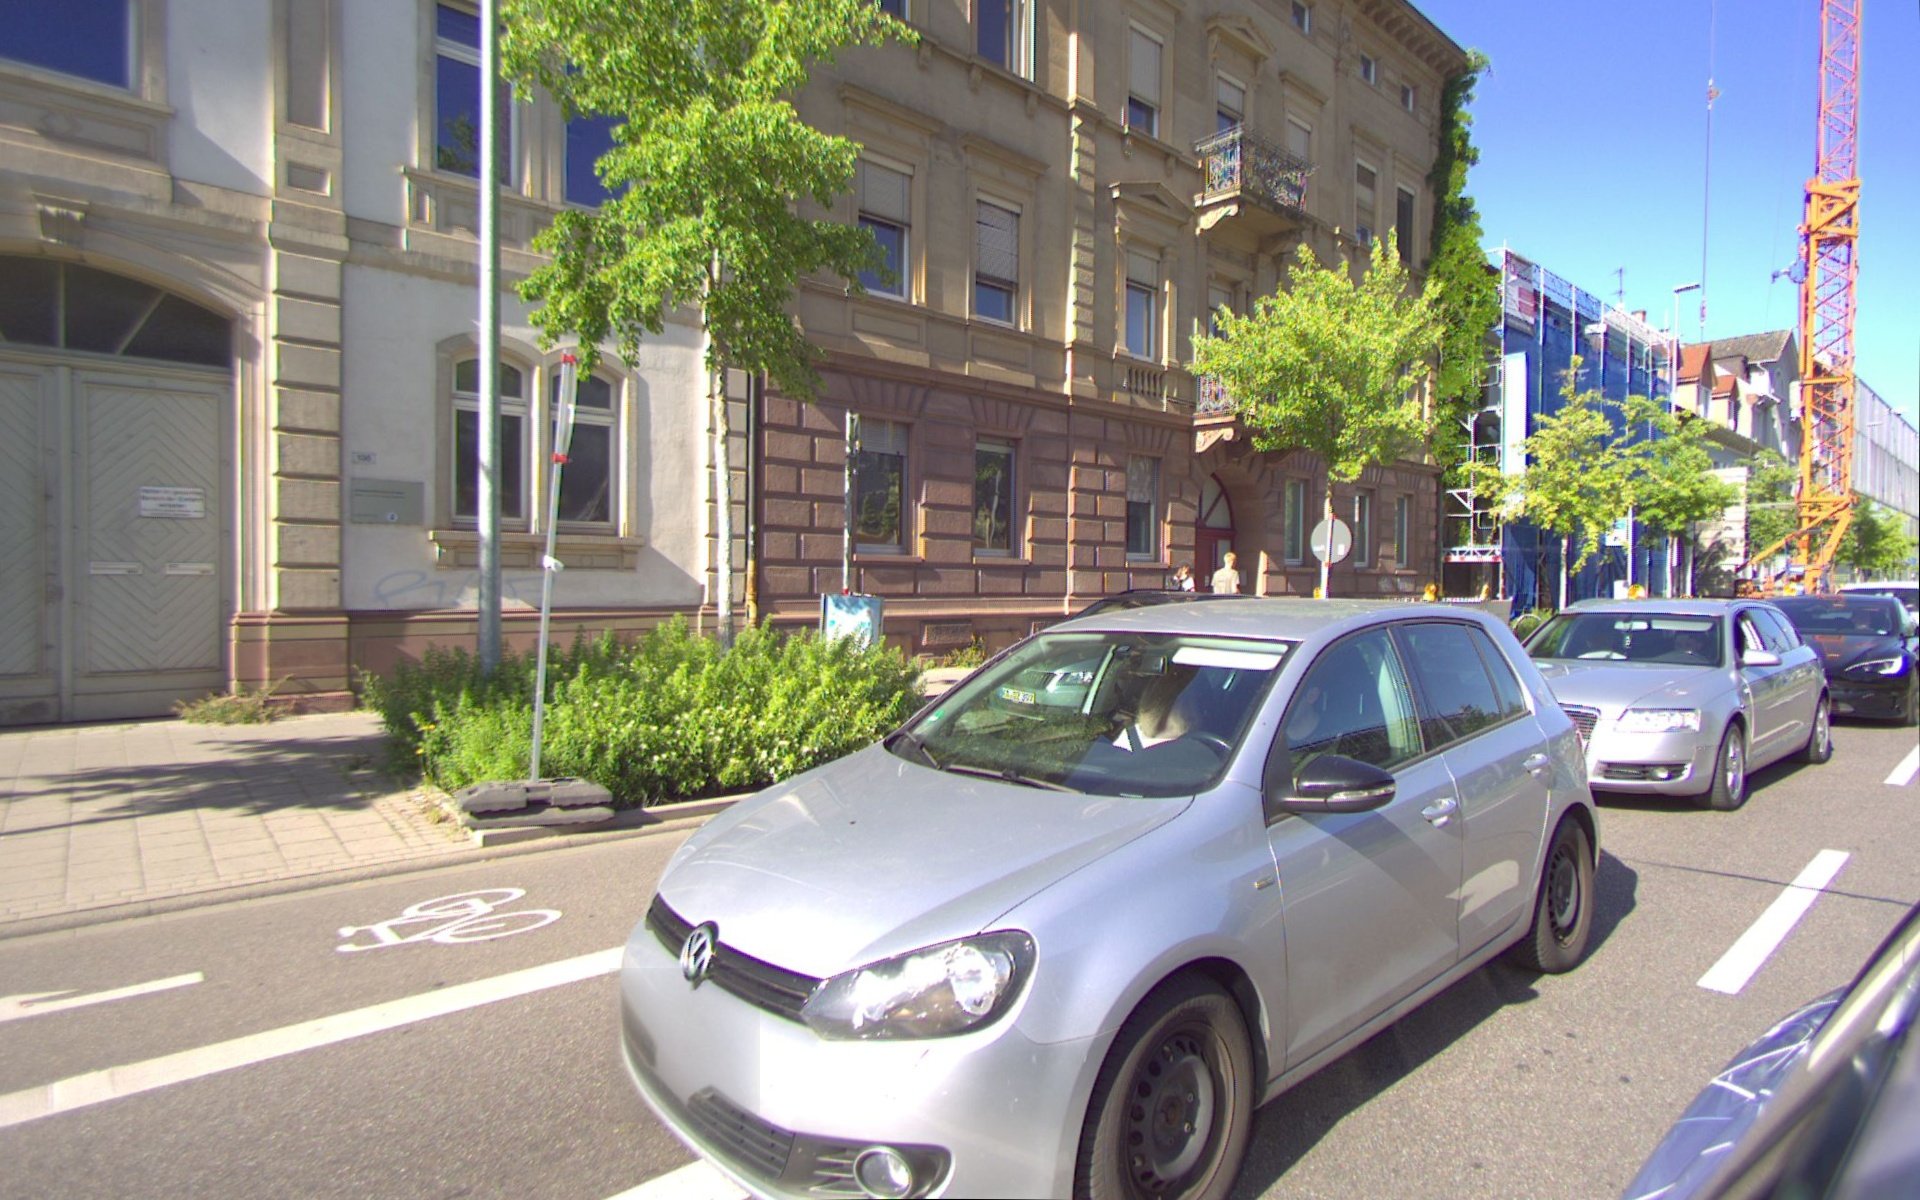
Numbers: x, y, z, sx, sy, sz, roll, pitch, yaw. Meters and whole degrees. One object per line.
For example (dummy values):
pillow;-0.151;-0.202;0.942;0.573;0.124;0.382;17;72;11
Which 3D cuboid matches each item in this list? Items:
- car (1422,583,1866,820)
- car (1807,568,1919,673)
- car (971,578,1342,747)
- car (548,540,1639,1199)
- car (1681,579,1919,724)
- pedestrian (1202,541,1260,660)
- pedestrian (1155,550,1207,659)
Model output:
car;5.825;0.588;8.348;4.751;1.445;1.751;-1;1;-39
car;16.388;0.306;17.589;3.930;1.654;1.932;-1;0;-41
car;2.404;0.546;11.559;4.619;1.493;1.651;-1;4;-41
car;0.809;0.650;3.671;3.934;1.546;1.753;-1;0;-40
car;10.709;0.499;12.438;4.446;1.462;2.054;-1;0;-41
pedestrian;4.573;-0.007;17.090;0.577;1.936;0.660;0;4;-41
pedestrian;3.864;0.063;17.690;0.577;1.843;0.564;0;4;-41
